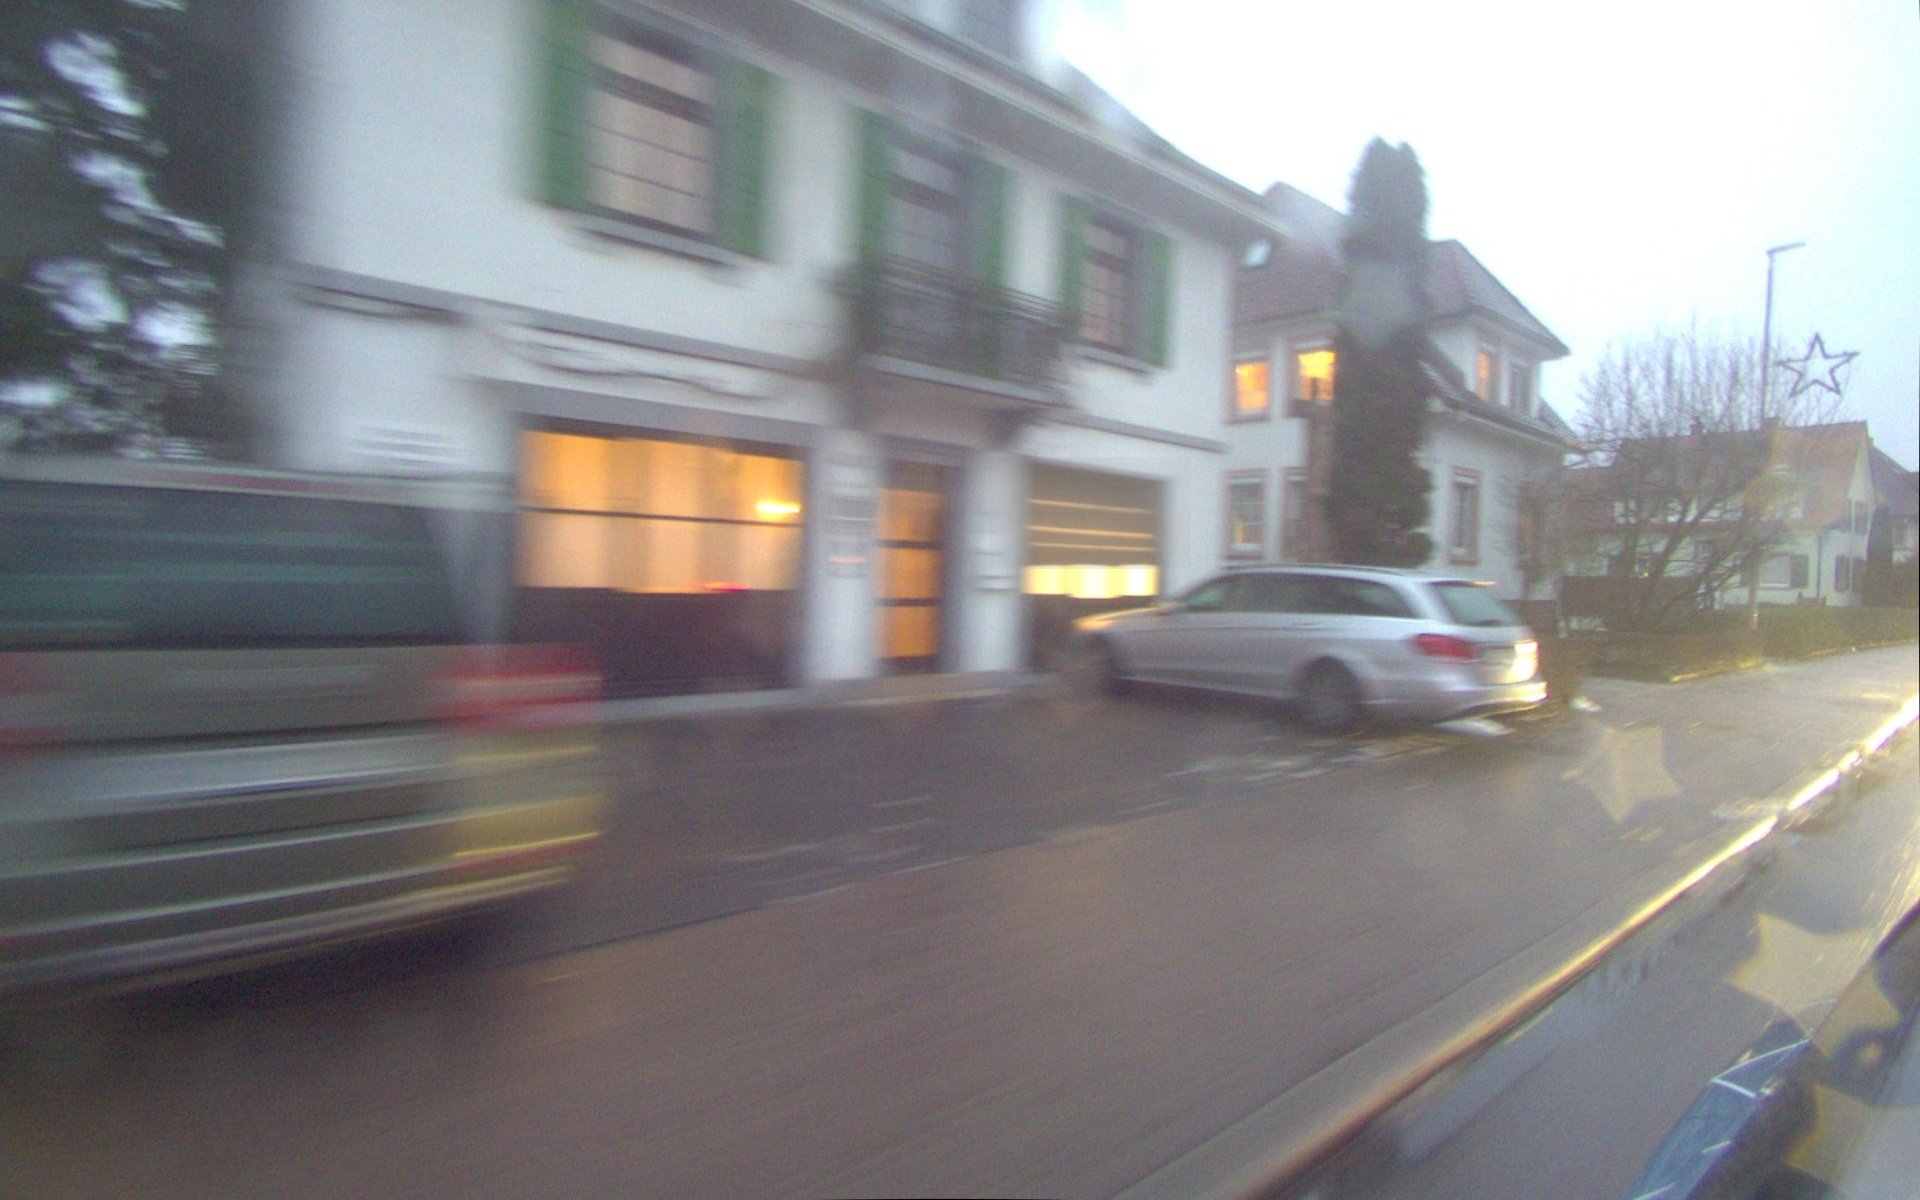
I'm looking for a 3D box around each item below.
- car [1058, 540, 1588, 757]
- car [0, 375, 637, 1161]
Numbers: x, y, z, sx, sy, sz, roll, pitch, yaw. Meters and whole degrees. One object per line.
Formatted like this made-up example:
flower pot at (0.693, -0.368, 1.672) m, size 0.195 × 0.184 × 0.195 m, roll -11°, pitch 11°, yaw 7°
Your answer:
car at (3.321, 0.270, 10.229) m, size 1.871 × 1.649 × 4.749 m, roll 1°, pitch 2°, yaw -37°
car at (-3.081, 0.208, 4.050) m, size 1.965 × 1.726 × 4.112 m, roll -1°, pitch 5°, yaw -40°
